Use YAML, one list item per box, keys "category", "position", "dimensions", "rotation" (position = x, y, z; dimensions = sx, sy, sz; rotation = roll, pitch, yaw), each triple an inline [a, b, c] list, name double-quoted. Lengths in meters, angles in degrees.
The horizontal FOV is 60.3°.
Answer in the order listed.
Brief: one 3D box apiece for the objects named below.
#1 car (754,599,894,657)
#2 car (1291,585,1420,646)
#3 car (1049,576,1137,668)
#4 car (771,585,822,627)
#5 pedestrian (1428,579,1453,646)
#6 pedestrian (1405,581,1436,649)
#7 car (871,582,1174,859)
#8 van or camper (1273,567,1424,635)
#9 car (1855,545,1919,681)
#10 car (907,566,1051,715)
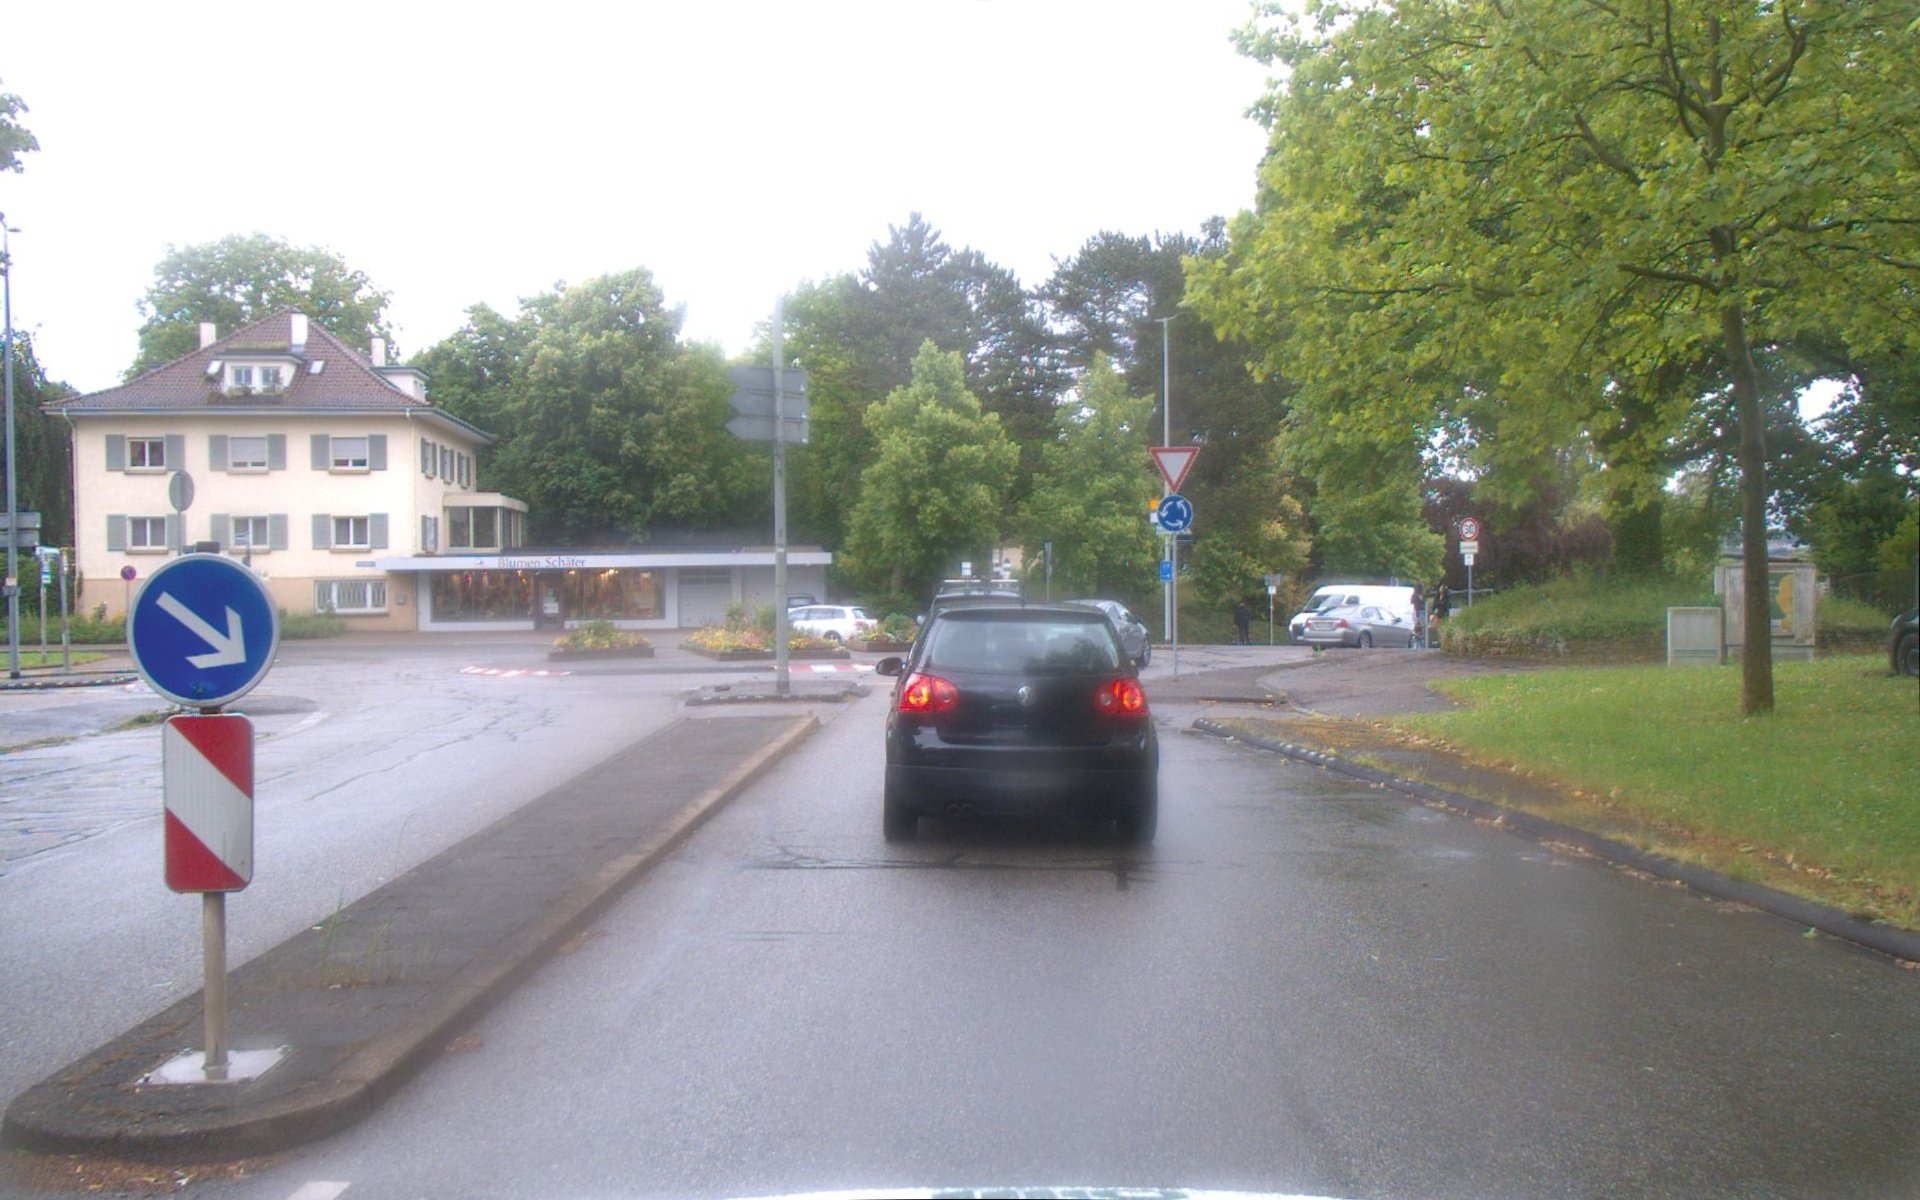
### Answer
- category: "car"
  position: [-4.371, 0.889, 53.038]
  dimensions: [4.054, 1.772, 1.996]
  rotation: [0, -1, 31]
- category: "car"
  position: [11.755, 0.467, 49.016]
  dimensions: [1.967, 1.713, 4.004]
  rotation: [0, -1, 45]
- category: "car"
  position: [2.828, 0.461, 35.749]
  dimensions: [1.728, 1.833, 4.248]
  rotation: [-2, 0, 3]
- category: "car"
  position: [-6.433, 0.221, 64.879]
  dimensions: [1.778, 1.512, 3.824]
  rotation: [-2, 0, -8]
- category: "pedestrian"
  position: [12.680, 0.333, 43.680]
  dimensions: [0.620, 1.743, 0.530]
  rotation: [0, -1, 15]
- category: "pedestrian"
  position: [11.964, 0.400, 43.015]
  dimensions: [0.519, 1.743, 0.633]
  rotation: [1, -1, -16]
- category: "car"
  position: [0.505, 0.694, 11.511]
  dimensions: [1.727, 1.565, 4.002]
  rotation: [1, 0, 4]
- category: "van or camper"
  position: [14.596, 0.078, 62.079]
  dimensions: [5.590, 2.420, 2.179]
  rotation: [1, -1, -30]
- category: "car"
  position: [11.449, 0.093, 17.059]
  dimensions: [1.729, 1.496, 4.595]
  rotation: [-3, 0, -3]
- category: "car"
  position: [0.181, 0.526, 23.148]
  dimensions: [1.729, 1.833, 4.244]
  rotation: [-2, 0, -3]
